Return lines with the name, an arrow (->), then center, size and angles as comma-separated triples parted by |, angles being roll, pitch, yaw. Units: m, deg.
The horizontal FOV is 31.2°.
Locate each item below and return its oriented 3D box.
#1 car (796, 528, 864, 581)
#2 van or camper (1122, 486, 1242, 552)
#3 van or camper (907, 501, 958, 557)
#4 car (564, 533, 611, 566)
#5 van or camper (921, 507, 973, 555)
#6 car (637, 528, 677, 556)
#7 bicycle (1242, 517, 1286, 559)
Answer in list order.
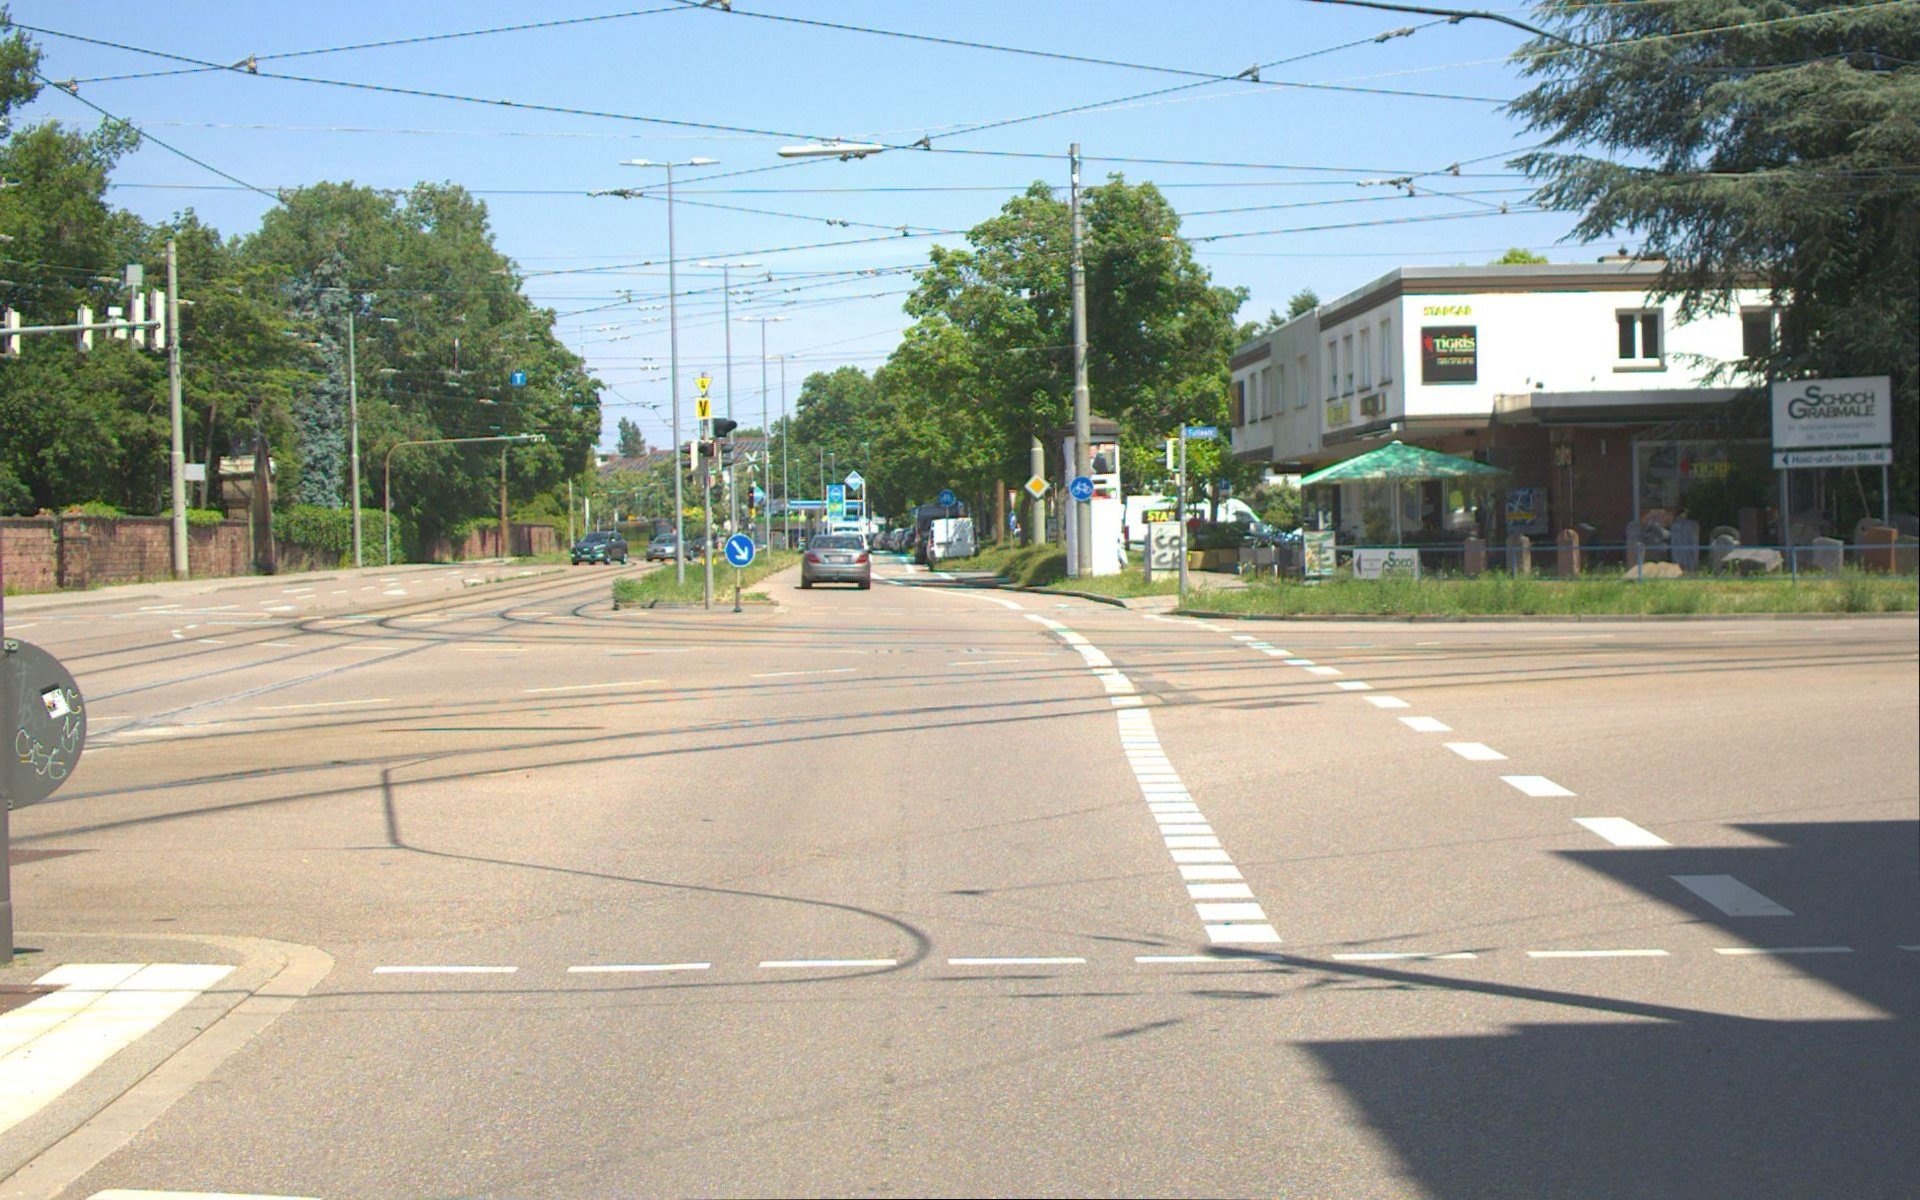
car -> -3.435, -1.203, 90.544 | 1.636, 1.346, 3.843 | -1, 1, -4
van or camper -> 9.249, -3.391, 143.389 | 4.756, 2.662, 2.136 | -1, 1, -3
van or camper -> -1.256, -3.165, 152.837 | 1.993, 2.456, 4.001 | -1, 1, -4
car -> -18.439, -2.512, 170.484 | 1.820, 1.598, 4.520 | -1, 1, 0
van or camper -> -0.497, -2.626, 130.372 | 1.922, 1.766, 4.000 | -1, 1, -1
car -> -15.974, -3.062, 181.485 | 1.641, 1.416, 4.168 | -1, 1, 1
bicycle -> 7.474, -1.531, 84.498 | 1.034, 1.011, 2.636 | -1, 1, 6
